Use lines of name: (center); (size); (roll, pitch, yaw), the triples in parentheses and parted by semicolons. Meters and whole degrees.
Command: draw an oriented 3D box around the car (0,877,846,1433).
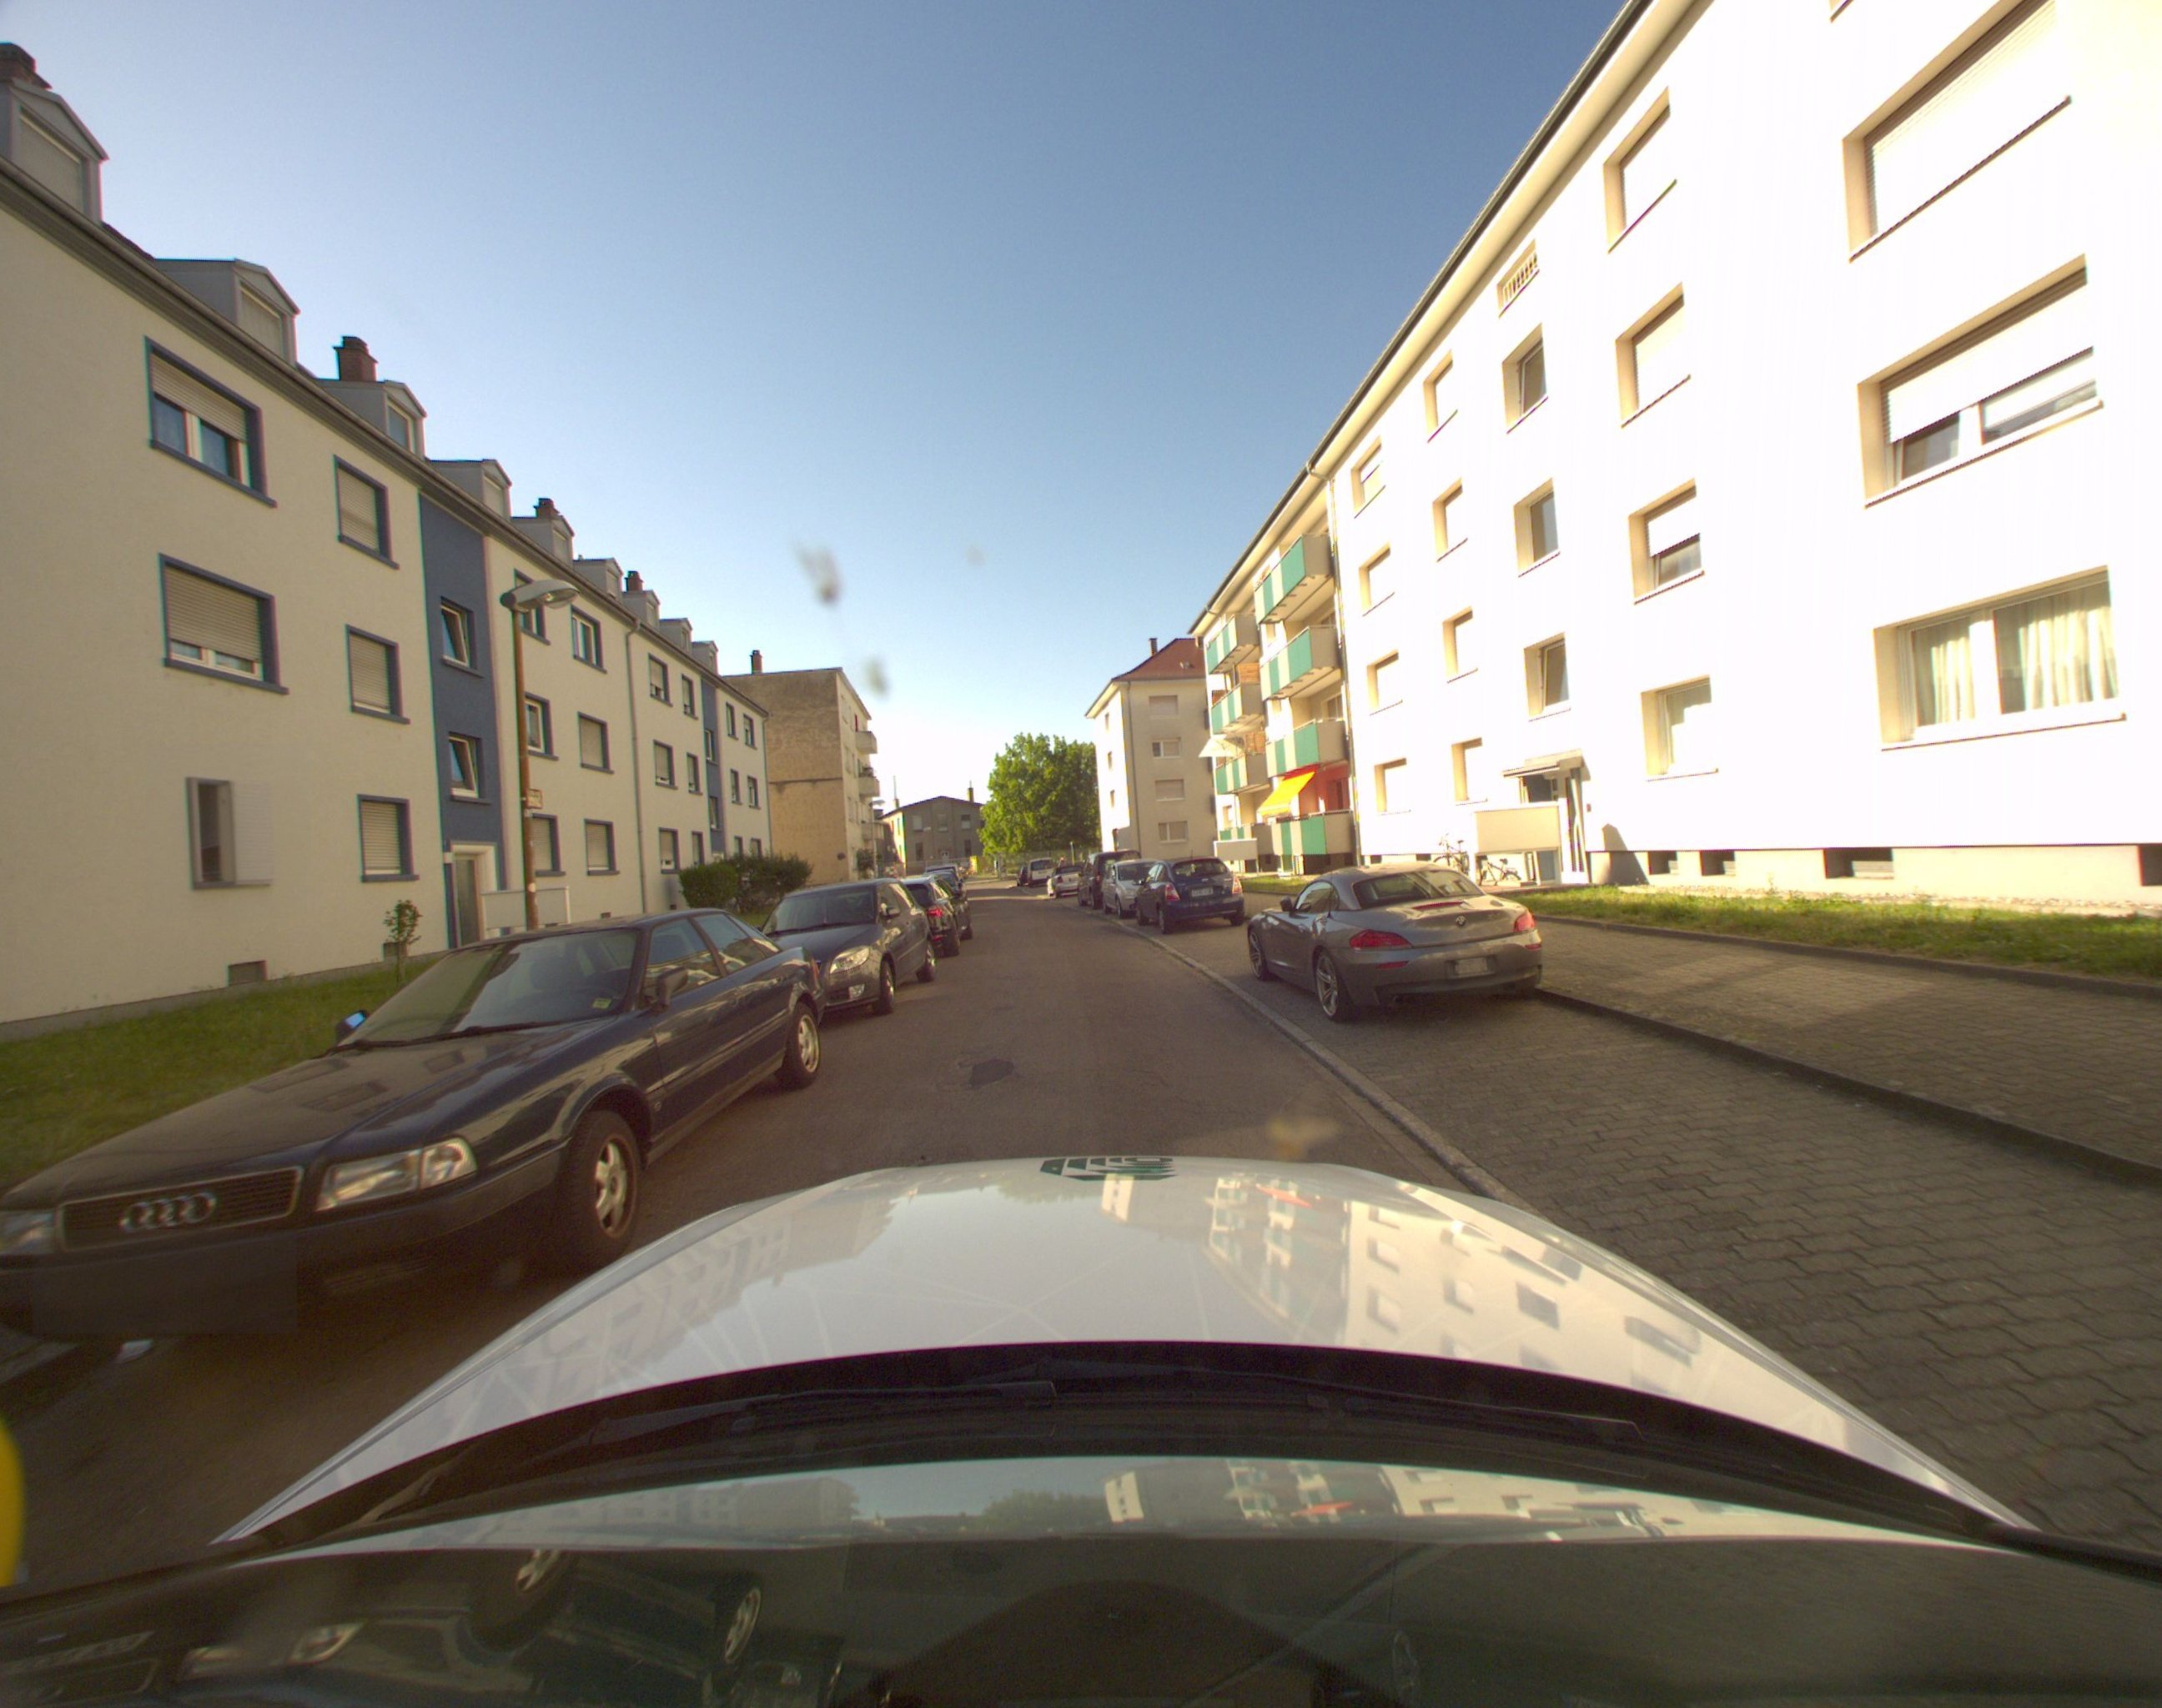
car: (-2.752, 0.978, 4.634); (1.565, 1.464, 4.259); (-5, 0, -2)

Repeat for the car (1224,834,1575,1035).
car: (2.837, 0.642, 8.390); (1.681, 1.363, 4.235); (-6, -1, -3)

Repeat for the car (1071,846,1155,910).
car: (0.983, 0.829, 27.467); (1.896, 1.855, 4.329); (-4, -2, -9)

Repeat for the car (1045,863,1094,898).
car: (-0.588, 1.243, 37.851); (1.716, 1.364, 4.043); (-5, -1, -8)

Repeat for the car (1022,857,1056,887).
car: (-2.794, 1.225, 53.886); (1.765, 1.739, 4.082); (-5, -1, -8)

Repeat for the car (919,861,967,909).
car: (-6.110, 1.375, 36.453); (1.896, 1.855, 4.182); (-4, -2, -8)

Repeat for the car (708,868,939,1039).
car: (-2.835, 1.005, 9.785); (1.474, 1.477, 3.630); (-7, -1, -1)

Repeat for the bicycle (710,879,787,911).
bicycle: (-12.952, 1.587, 31.790); (2.673, 1.130, 0.769); (-1, -1, -15)

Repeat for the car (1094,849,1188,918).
car: (1.548, 0.772, 22.338); (1.680, 1.587, 4.001); (-5, -1, -8)

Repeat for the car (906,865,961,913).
car: (-5.581, 1.310, 31.161); (1.832, 1.515, 3.987); (-5, -1, -9)

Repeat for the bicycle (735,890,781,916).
bicycle: (-13.622, 2.067, 34.360); (1.645, 0.936, 0.546); (-5, -1, -7)

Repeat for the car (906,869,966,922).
car: (-4.626, 1.296, 26.328); (1.658, 1.443, 3.859); (-5, -1, -8)

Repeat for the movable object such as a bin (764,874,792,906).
movable object such as a bin: (-16.091, 1.910, 43.293); (1.068, 1.539, 1.352); (-5, -1, -11)

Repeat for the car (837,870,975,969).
car: (-3.140, 1.111, 15.570); (1.740, 1.431, 4.592); (-6, -1, -3)

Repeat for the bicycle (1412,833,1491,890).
bicycle: (7.860, 0.142, 17.350); (0.648, 1.068, 1.730); (-8, 1, -5)

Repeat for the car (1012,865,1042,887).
car: (-3.925, 1.594, 58.975); (1.765, 1.362, 4.082); (-5, -1, -8)

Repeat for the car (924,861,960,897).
car: (-8.831, 1.588, 51.941); (1.993, 2.013, 4.440); (-5, -1, -8)

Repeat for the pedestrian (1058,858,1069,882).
pedestrian: (-1.323, 1.208, 62.176); (0.652, 1.815, 0.614); (-5, -1, 1)

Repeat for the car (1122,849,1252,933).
car: (2.142, 0.759, 17.734); (1.736, 1.431, 4.346); (-6, -1, -6)
